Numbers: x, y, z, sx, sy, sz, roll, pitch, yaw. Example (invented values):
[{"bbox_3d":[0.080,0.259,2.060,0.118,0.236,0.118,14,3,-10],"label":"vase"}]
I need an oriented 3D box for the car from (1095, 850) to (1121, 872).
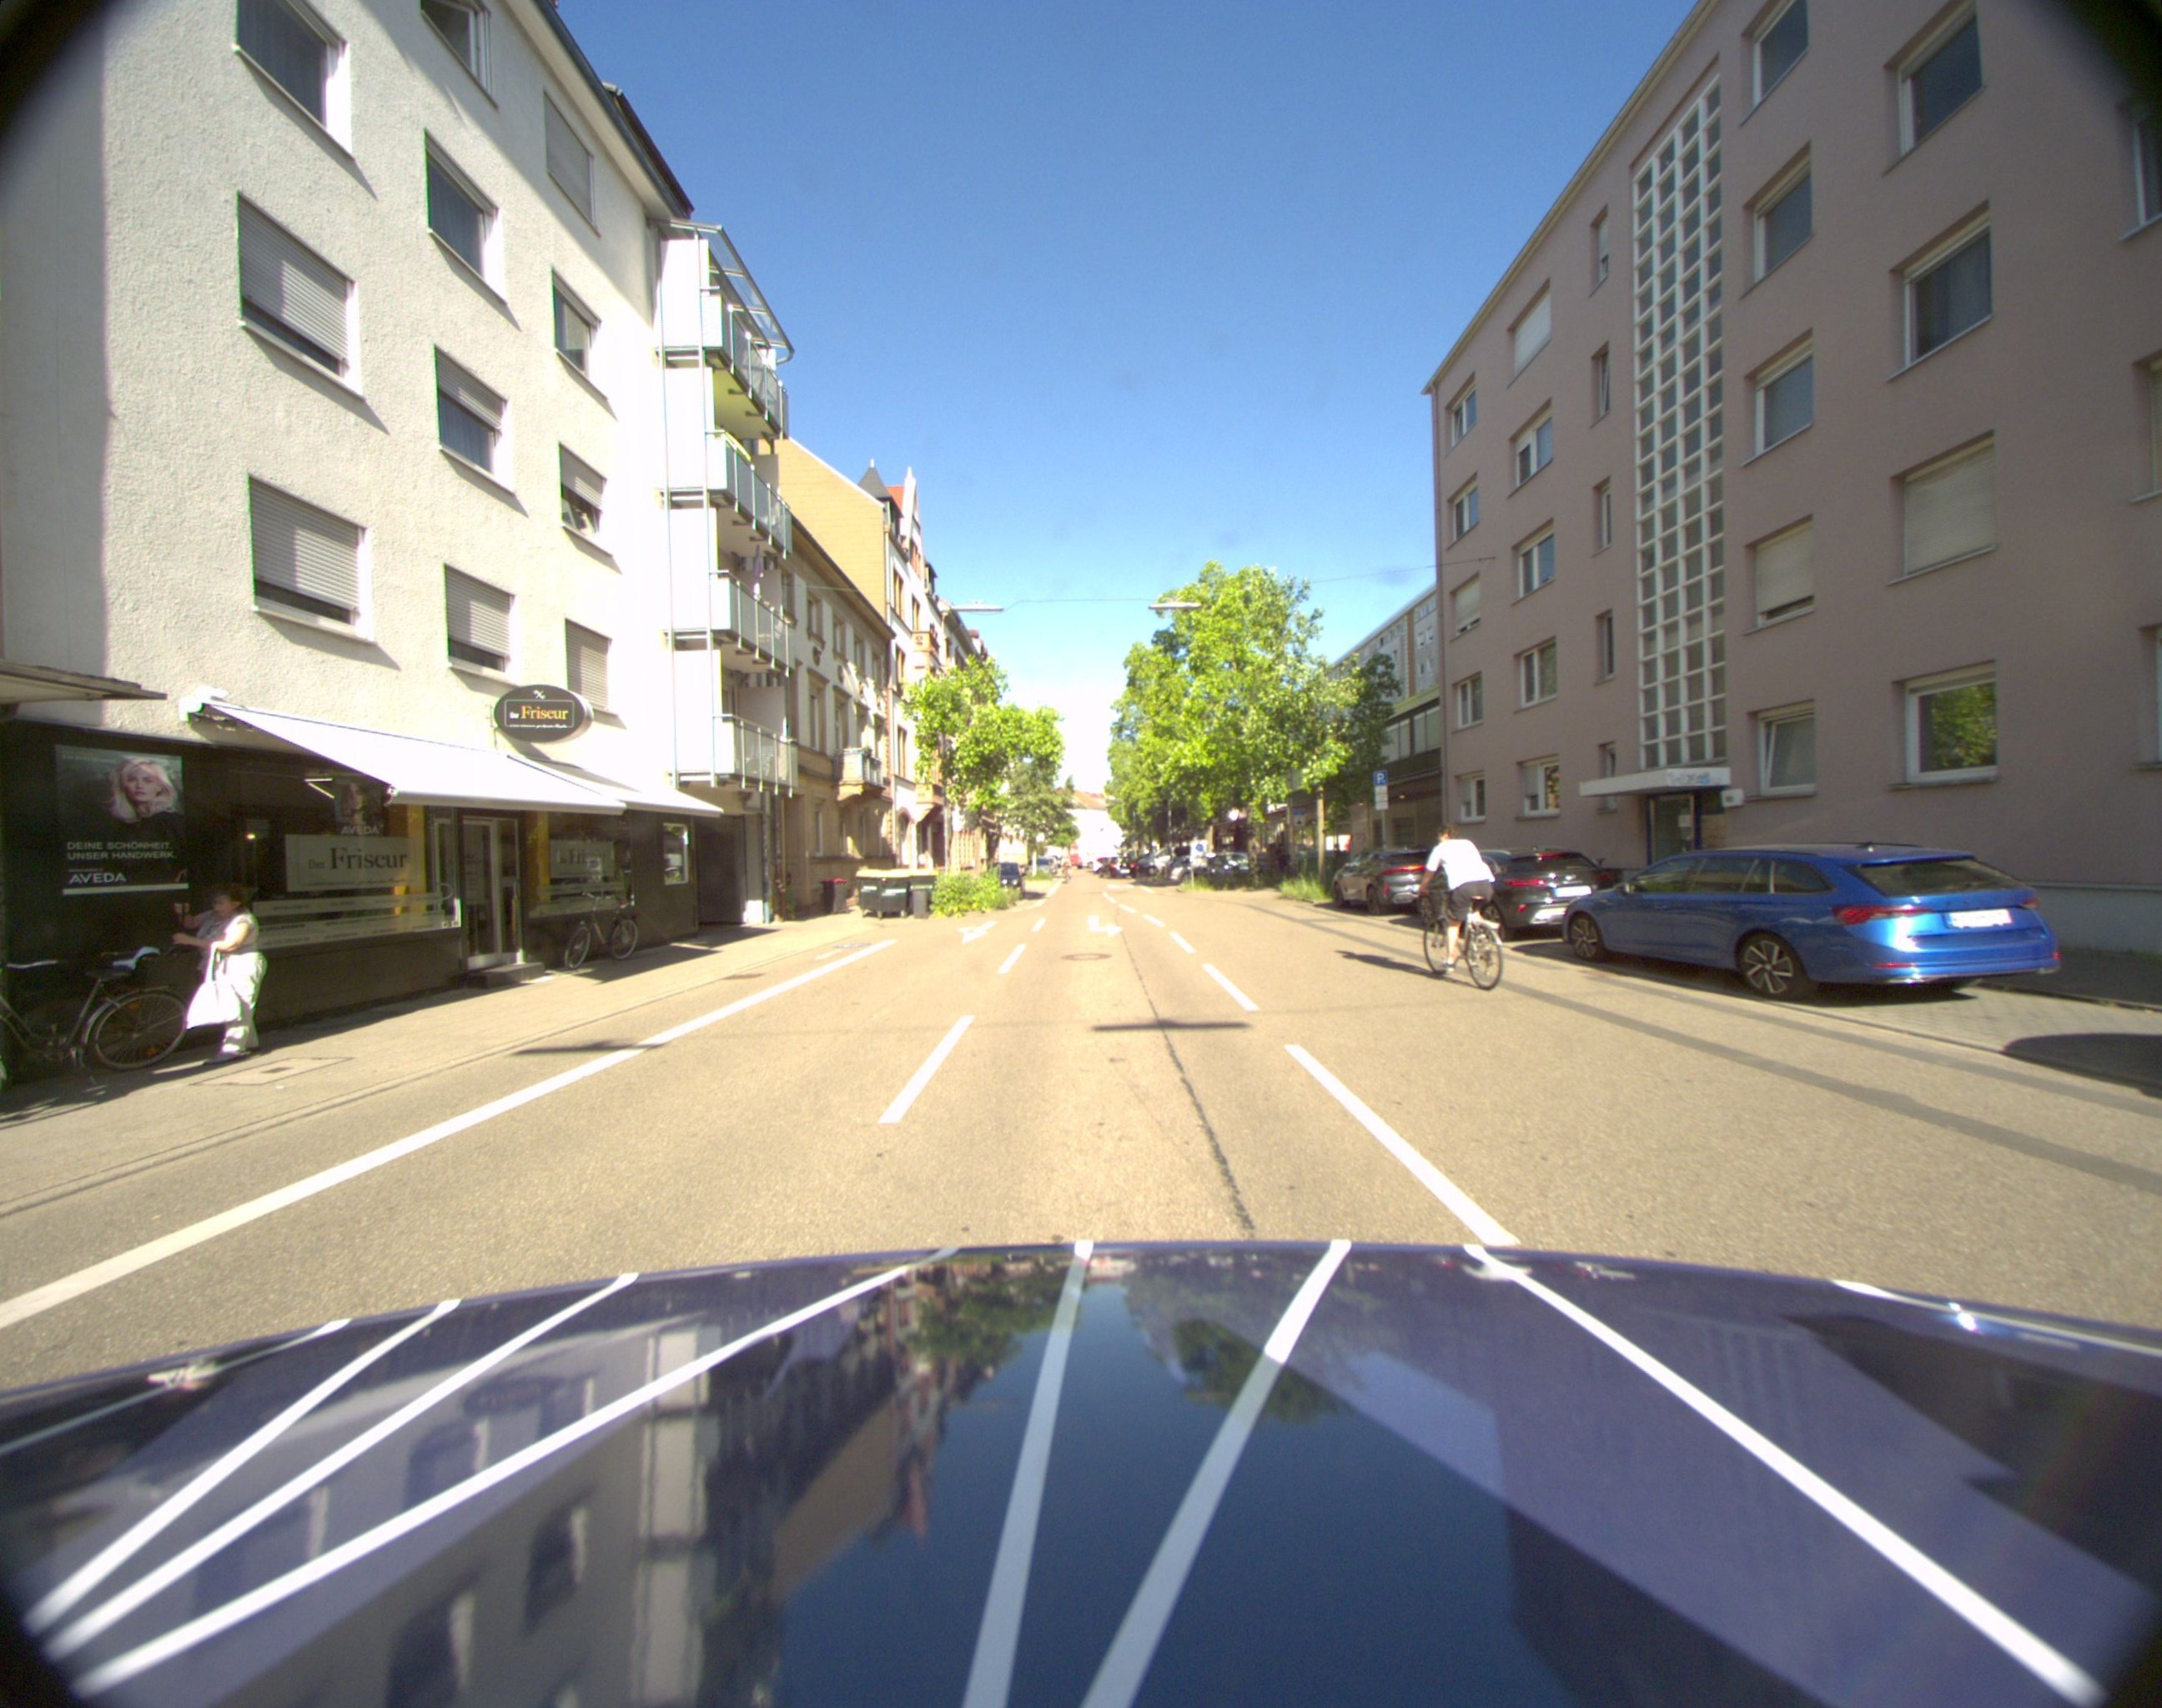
[{"bbox_3d":[2.088,0.517,59.346,1.911,1.543,4.000,-2,0,0],"label":"car"}]

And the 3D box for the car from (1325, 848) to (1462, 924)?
[{"bbox_3d":[7.580,0.697,18.879,1.727,1.567,4.158,-4,0,2],"label":"car"}]

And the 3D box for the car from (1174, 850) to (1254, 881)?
[{"bbox_3d":[7.054,0.596,40.639,3.996,1.543,1.913,-2,0,3],"label":"car"}]

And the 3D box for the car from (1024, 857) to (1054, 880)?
[{"bbox_3d":[-2.847,0.956,52.367,1.914,1.444,3.546,-2,0,-1],"label":"car"}]

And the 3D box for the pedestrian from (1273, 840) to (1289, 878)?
[{"bbox_3d":[9.770,0.240,37.170,0.623,1.795,0.502,-2,1,2],"label":"pedestrian"}]

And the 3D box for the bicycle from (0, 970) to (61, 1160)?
[{"bbox_3d":[-7.419,1.352,4.475,1.497,1.100,0.722,-2,1,-31],"label":"bicycle"}]

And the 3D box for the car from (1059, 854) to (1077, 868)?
[{"bbox_3d":[-1.421,0.789,83.739,1.713,1.444,3.547,-2,0,2],"label":"car"}]

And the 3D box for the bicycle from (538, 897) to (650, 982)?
[{"bbox_3d":[-7.658,1.306,12.054,0.598,1.137,1.774,1,0,1],"label":"bicycle"}]

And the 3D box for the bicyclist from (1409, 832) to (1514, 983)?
[{"bbox_3d":[4.273,0.571,8.603,0.718,1.611,0.946,-1,1,1],"label":"bicyclist"}]

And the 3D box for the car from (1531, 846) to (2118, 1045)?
[{"bbox_3d":[7.453,0.733,8.557,1.828,1.494,4.801,-4,0,-1],"label":"car"}]

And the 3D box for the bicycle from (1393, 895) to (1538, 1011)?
[{"bbox_3d":[4.289,1.055,8.649,0.718,1.058,1.872,-1,1,1],"label":"bicycle"}]

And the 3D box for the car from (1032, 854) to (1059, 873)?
[{"bbox_3d":[-2.858,0.747,62.344,1.914,1.444,3.547,-2,0,1],"label":"car"}]

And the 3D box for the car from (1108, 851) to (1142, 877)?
[{"bbox_3d":[2.785,0.600,48.856,1.911,1.543,4.000,-2,0,0],"label":"car"}]

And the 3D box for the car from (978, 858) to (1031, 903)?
[{"bbox_3d":[-2.951,0.979,29.857,1.627,1.586,3.547,-2,0,1],"label":"car"}]

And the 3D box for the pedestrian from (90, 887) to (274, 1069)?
[{"bbox_3d":[-7.587,1.011,6.449,0.776,1.434,0.625,0,1,-4],"label":"pedestrian"}]

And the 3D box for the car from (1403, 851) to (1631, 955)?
[{"bbox_3d":[7.479,0.741,13.577,1.727,1.459,4.158,-4,0,2],"label":"car"}]

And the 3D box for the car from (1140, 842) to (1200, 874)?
[{"bbox_3d":[6.012,0.268,51.486,3.875,2.031,1.913,-2,1,3],"label":"car"}]

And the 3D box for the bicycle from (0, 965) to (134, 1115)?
[{"bbox_3d":[-8.073,1.413,5.730,0.376,0.977,1.175,-1,0,-2],"label":"bicycle"}]

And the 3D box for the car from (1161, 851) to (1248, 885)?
[{"bbox_3d":[6.017,0.665,37.301,3.996,1.543,1.913,-2,0,3],"label":"car"}]

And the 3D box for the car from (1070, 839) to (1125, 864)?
[{"bbox_3d":[1.763,-0.275,77.636,5.572,2.379,1.973,-2,1,-38],"label":"car"}]

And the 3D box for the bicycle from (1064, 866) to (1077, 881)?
[{"bbox_3d":[-0.601,1.143,44.305,0.582,0.801,1.710,-2,0,5],"label":"bicycle"}]

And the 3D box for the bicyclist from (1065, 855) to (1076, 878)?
[{"bbox_3d":[-0.608,0.724,44.363,0.582,1.369,0.665,-2,1,5],"label":"bicyclist"}]
